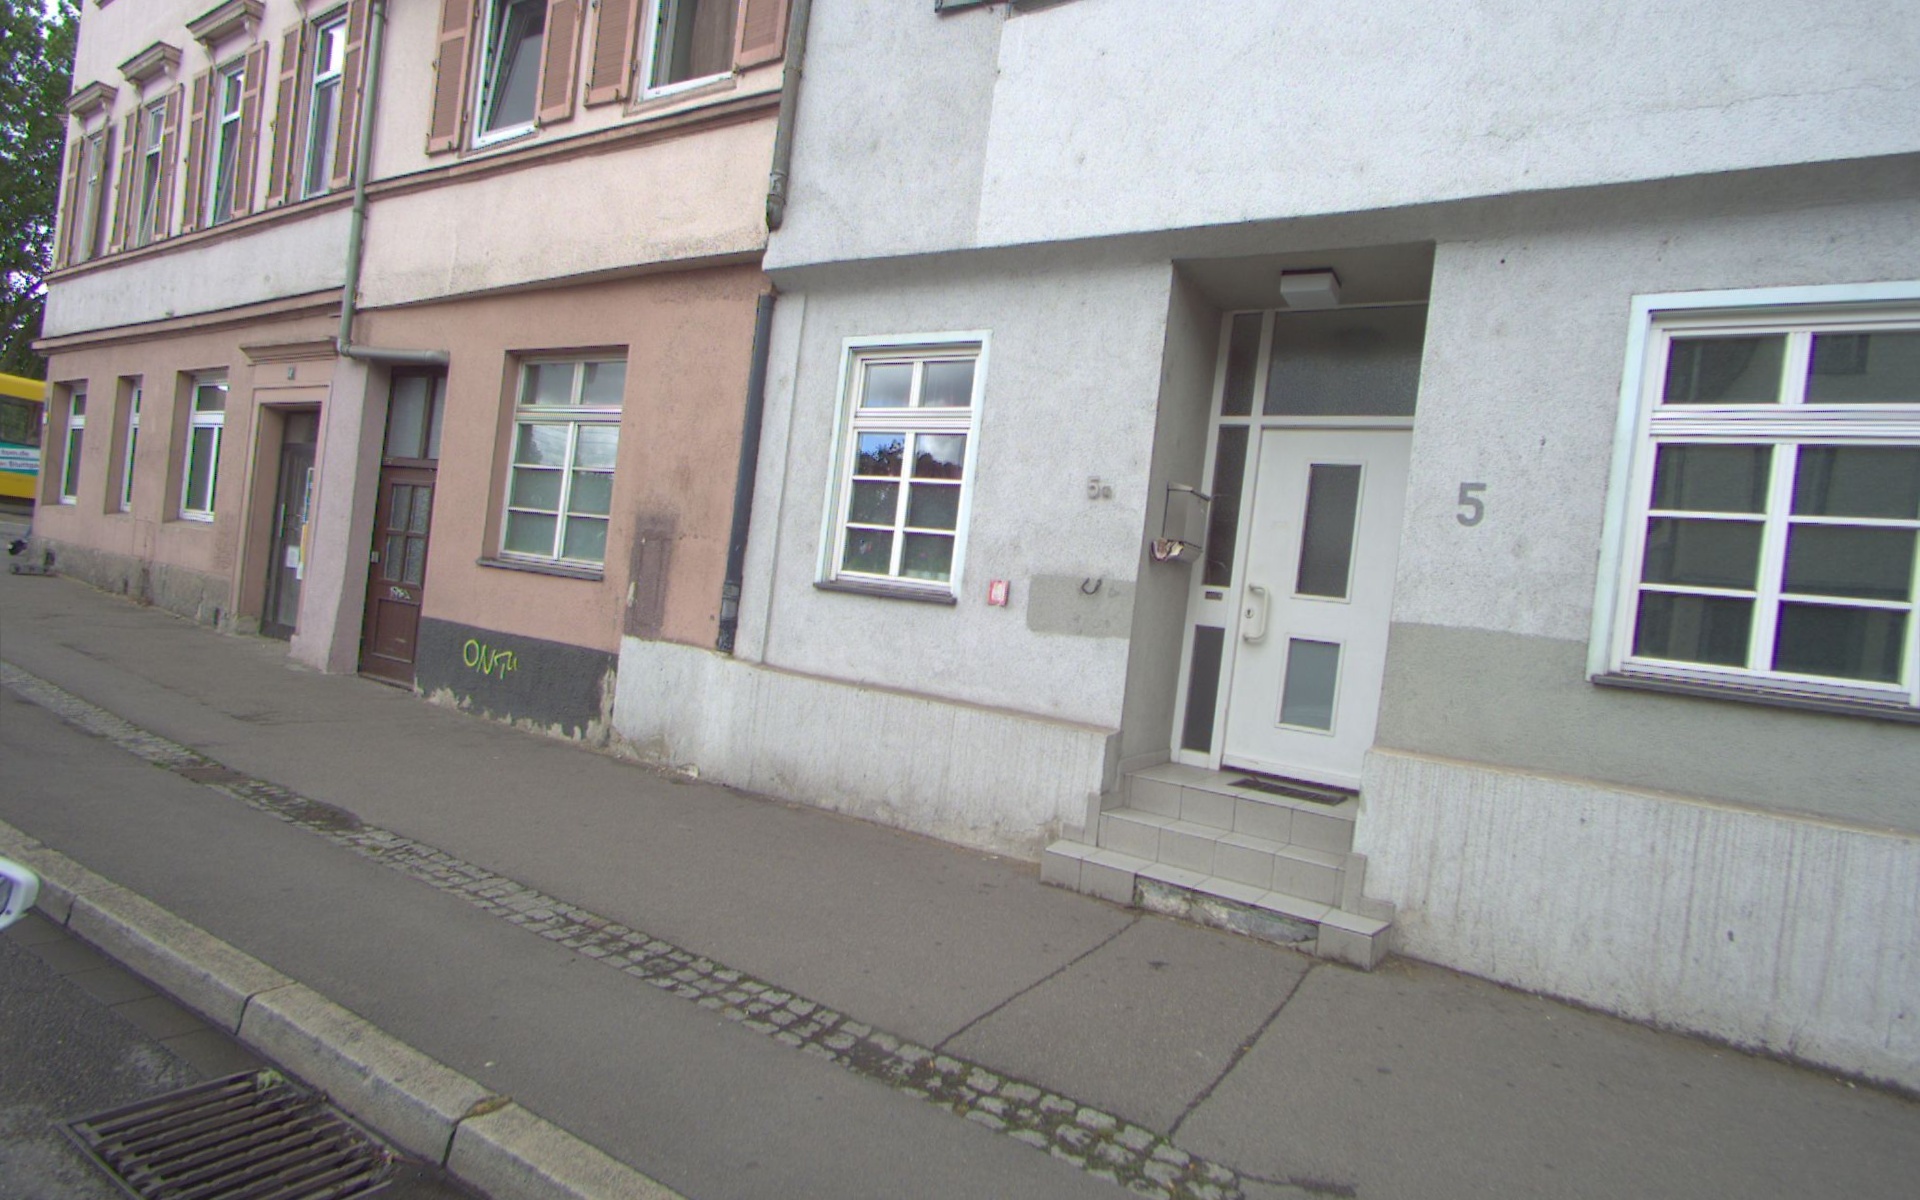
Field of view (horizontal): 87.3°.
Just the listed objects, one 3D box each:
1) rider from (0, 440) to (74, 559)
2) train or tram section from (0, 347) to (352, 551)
[{"bbox_3d":[-15.459,-1.657,16.755,0.708,1.873,0.795,4,3,-12],"label":"rider"},{"bbox_3d":[-25.770,-4.541,24.938,3.250,4.051,19.274,10,0,26],"label":"train or tram section"}]
